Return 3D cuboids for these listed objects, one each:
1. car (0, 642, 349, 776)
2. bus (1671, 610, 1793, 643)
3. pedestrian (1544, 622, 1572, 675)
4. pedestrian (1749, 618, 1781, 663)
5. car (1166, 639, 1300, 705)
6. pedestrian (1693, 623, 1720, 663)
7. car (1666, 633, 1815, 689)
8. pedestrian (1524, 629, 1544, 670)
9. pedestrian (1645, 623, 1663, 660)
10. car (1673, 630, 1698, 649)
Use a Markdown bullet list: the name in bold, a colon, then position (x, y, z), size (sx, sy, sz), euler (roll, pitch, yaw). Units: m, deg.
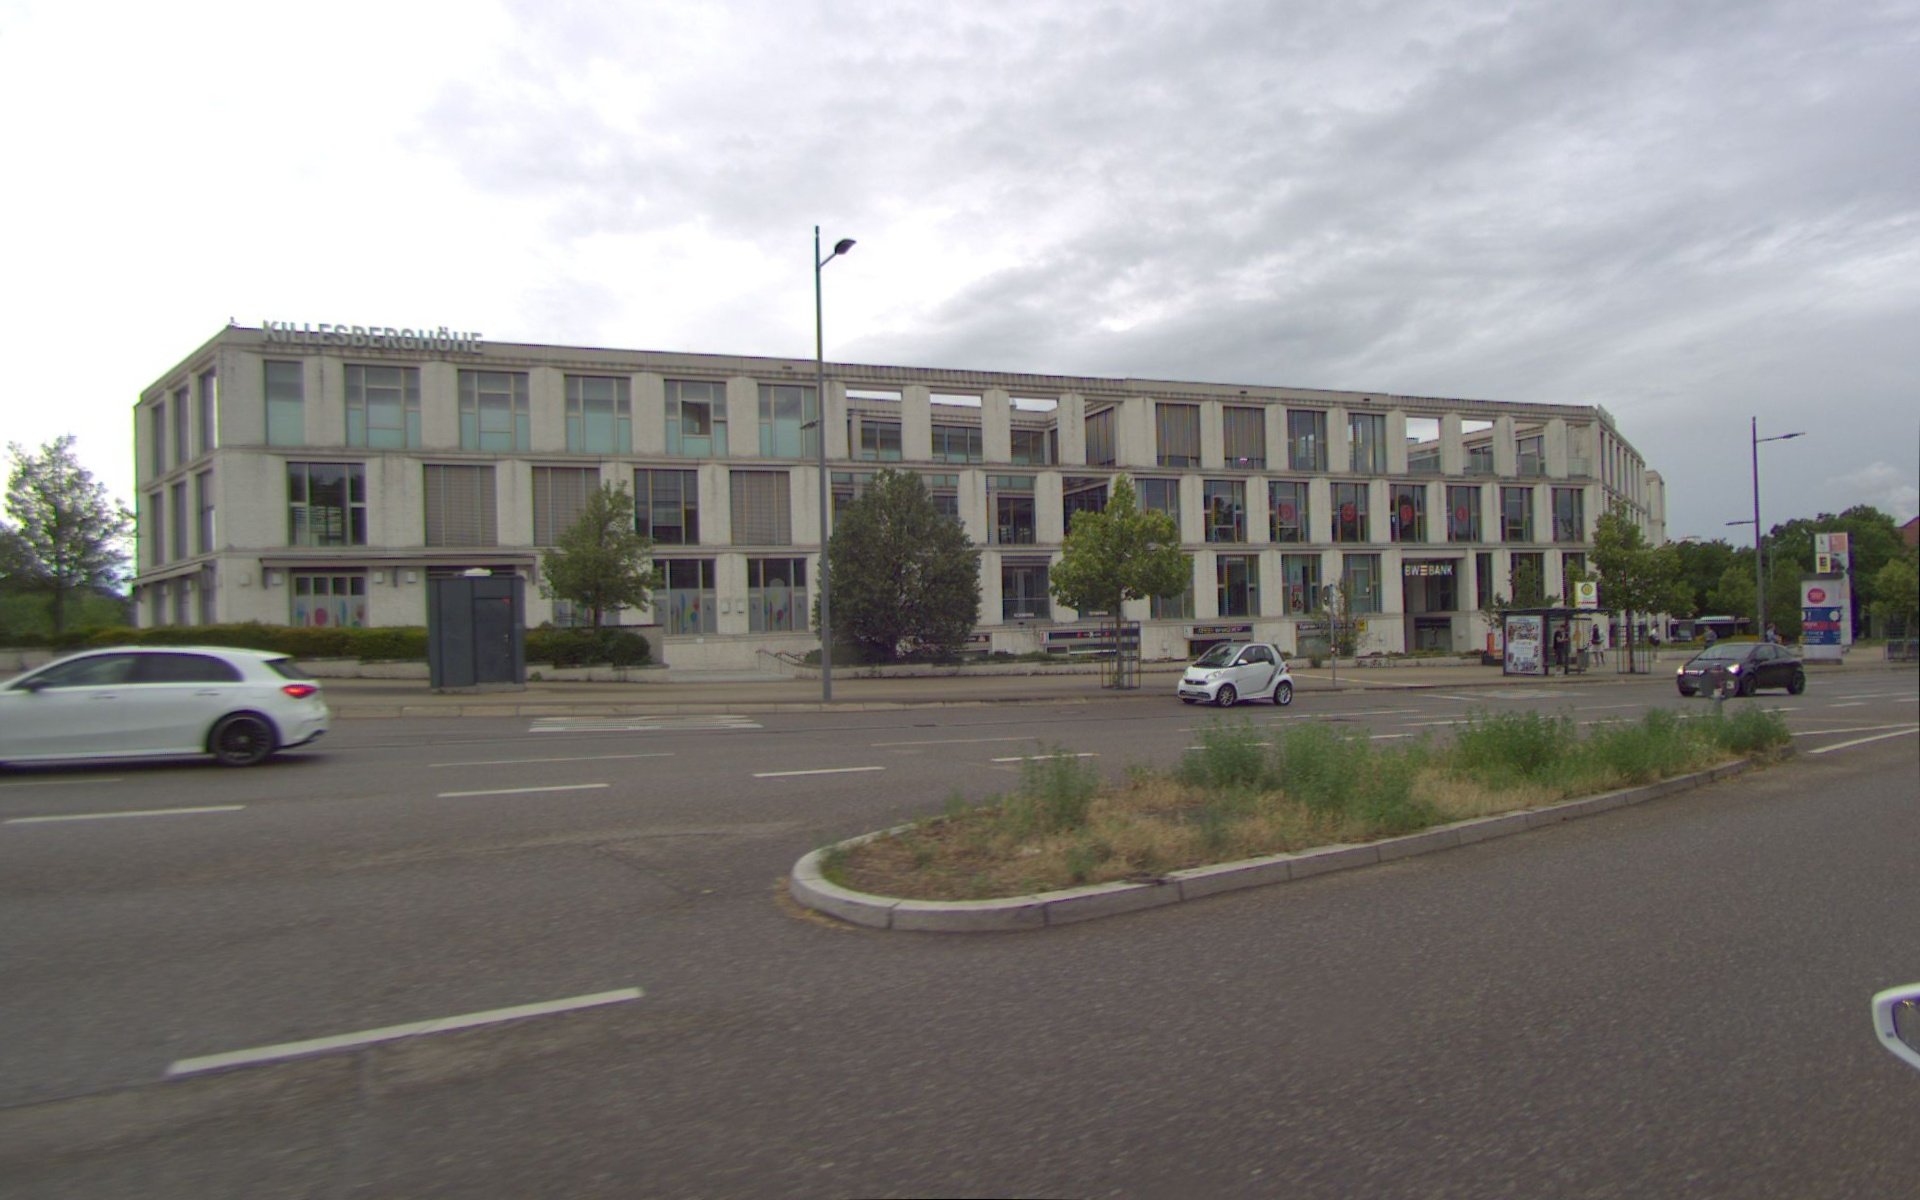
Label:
- **car**: position (-10.125, 1.238, 12.184), size (4.455, 1.437, 1.986), euler (1, -2, -28)
- **bus**: position (78.814, 2.772, 102.871), size (2.857, 3.144, 9.702), euler (0, -2, -24)
- **pedestrian**: position (21.642, 1.748, 36.356), size (0.746, 1.866, 0.505), euler (1, -2, -28)
- **pedestrian**: position (33.614, 1.682, 41.940), size (0.736, 1.866, 0.751), euler (0, -2, -25)
- **car**: position (6.843, 1.755, 25.166), size (2.935, 1.528, 1.608), euler (1, -1, -28)
- **pedestrian**: position (33.898, 1.949, 45.608), size (0.845, 1.785, 0.597), euler (0, -2, -25)
- **car**: position (21.854, 1.696, 28.125), size (3.818, 1.481, 1.840), euler (1, -4, -28)
- **pedestrian**: position (24.776, 2.119, 43.349), size (0.558, 1.748, 0.523), euler (0, -2, -25)
- **pedestrian**: position (32.754, 1.942, 47.400), size (0.909, 1.712, 0.492), euler (1, -2, -44)
- **car**: position (69.657, 3.803, 96.454), size (1.750, 1.754, 3.988), euler (-2, -3, 35)
